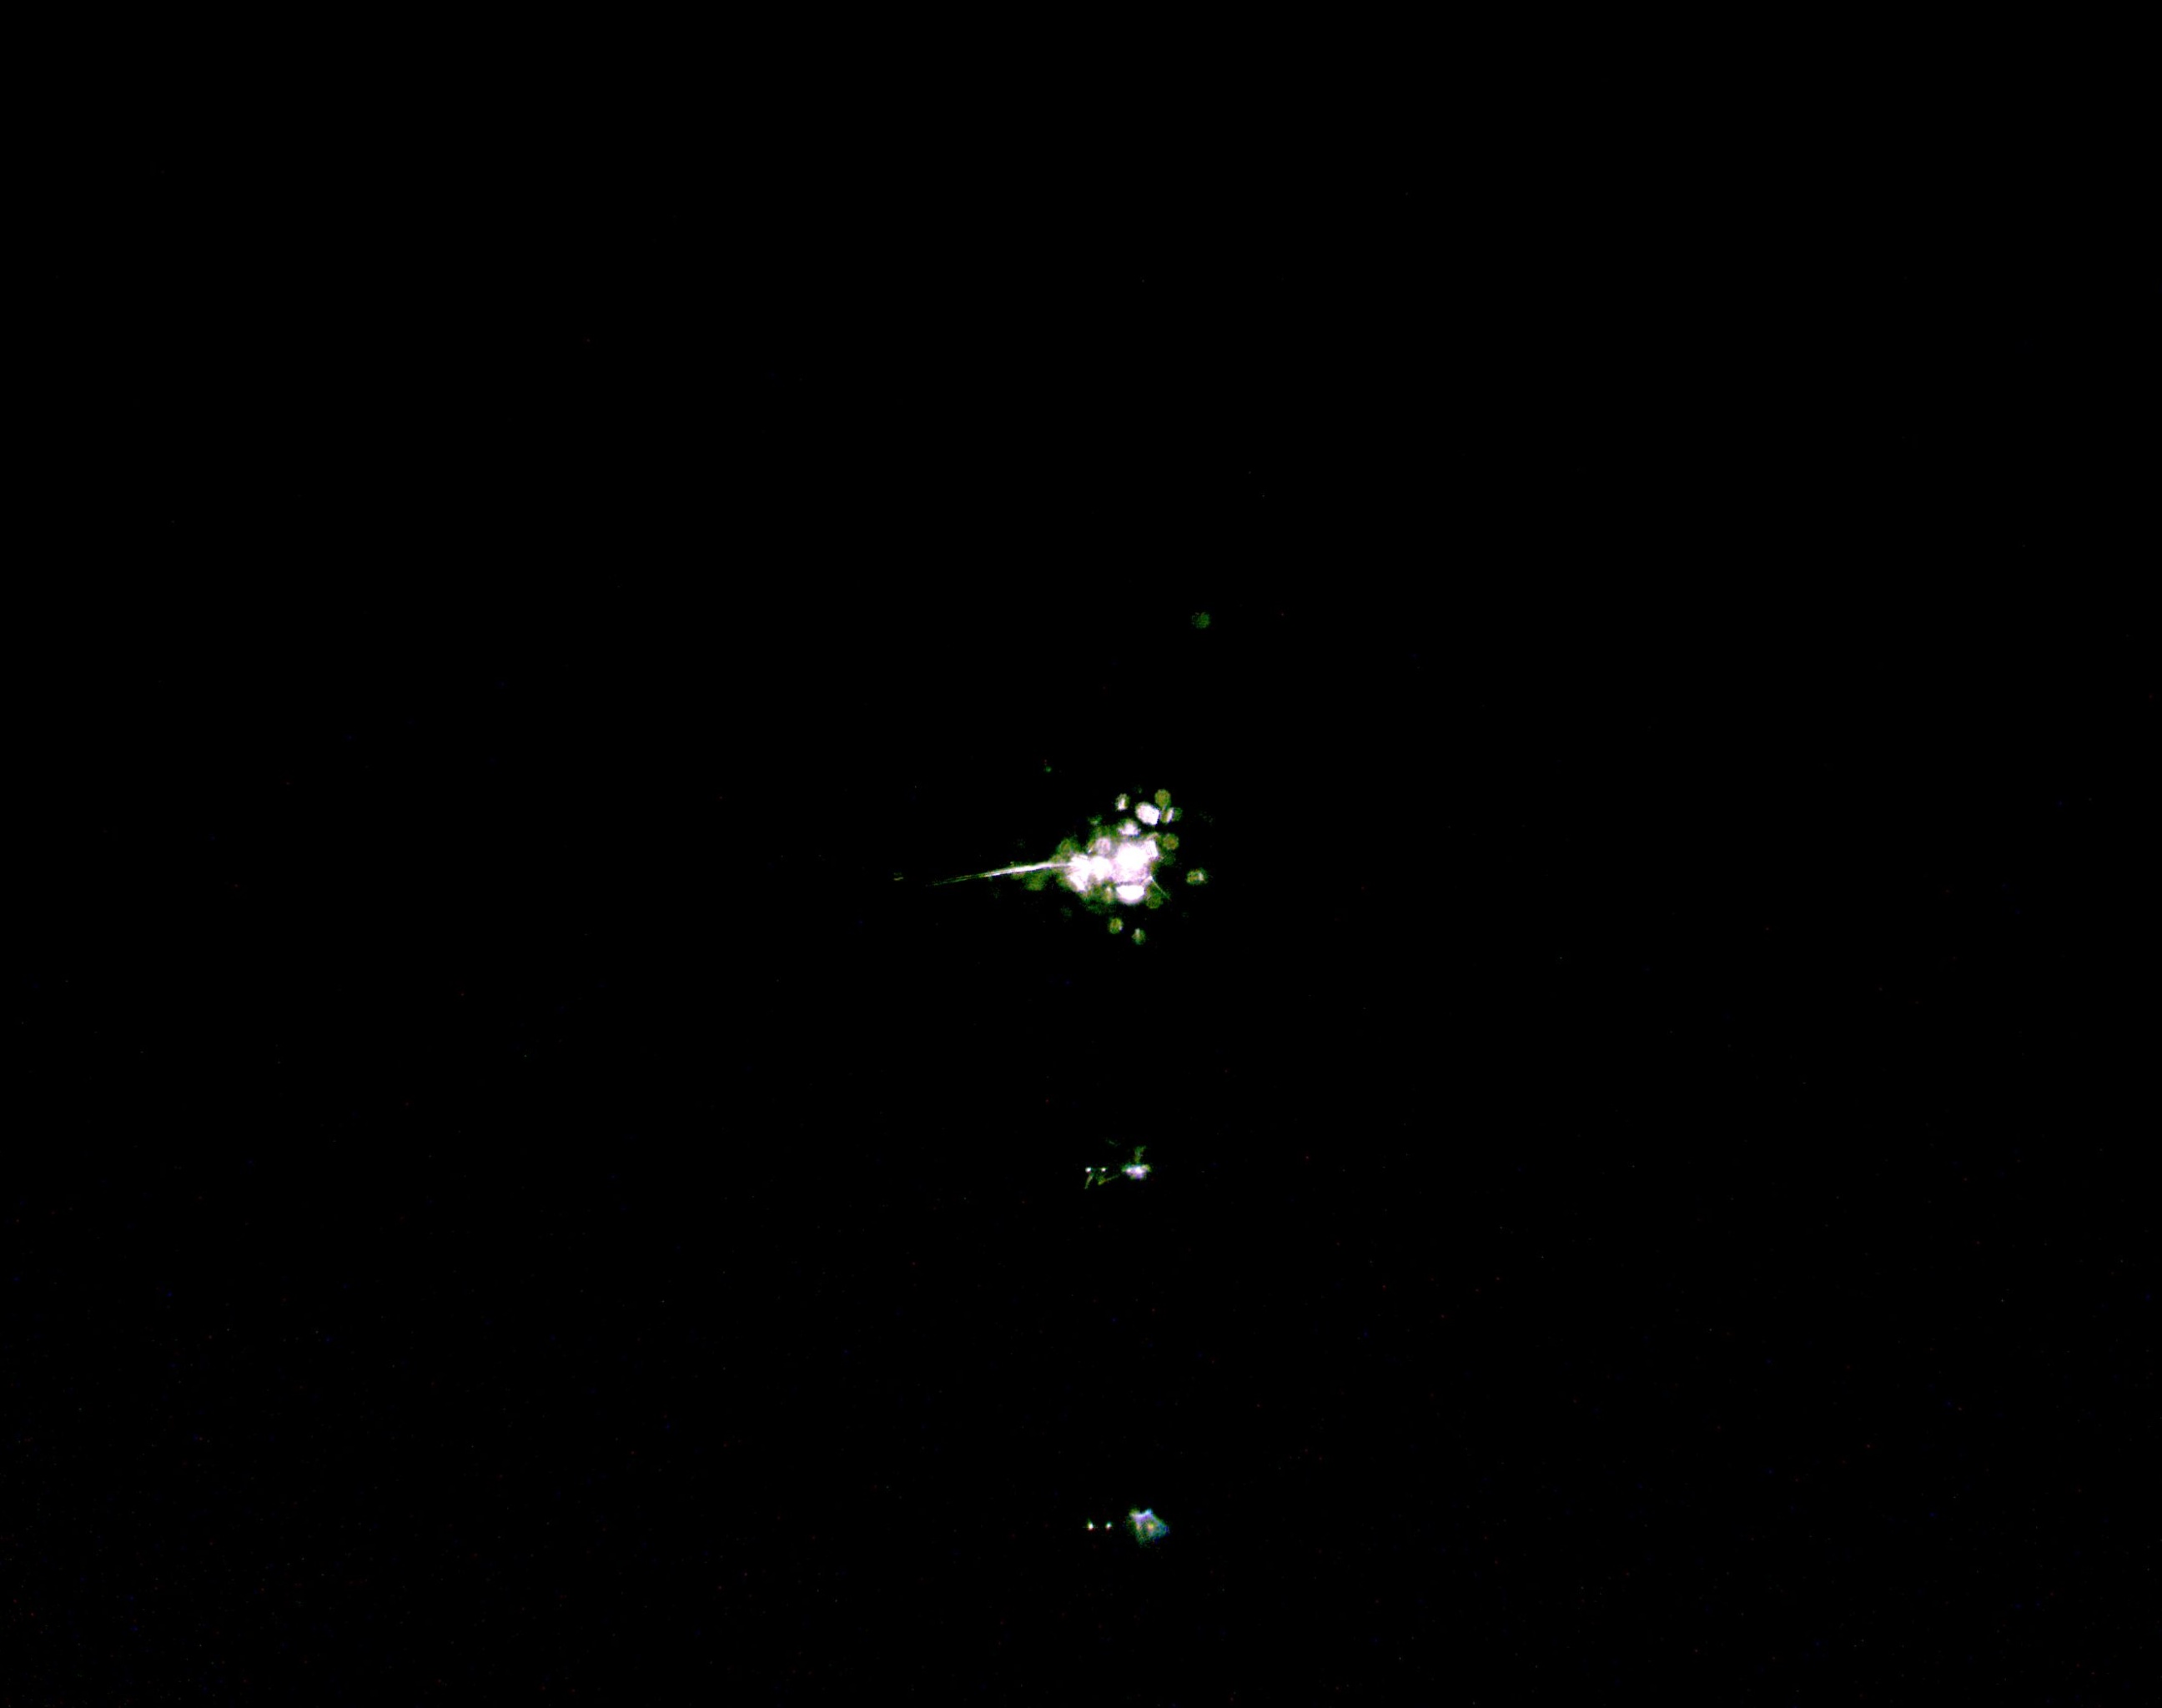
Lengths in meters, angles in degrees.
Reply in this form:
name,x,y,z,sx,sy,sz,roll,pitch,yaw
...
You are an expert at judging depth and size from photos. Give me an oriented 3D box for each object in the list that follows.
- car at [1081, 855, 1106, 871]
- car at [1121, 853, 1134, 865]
name,x,y,z,sx,sy,sz,roll,pitch,yaw
car,1.164,0.799,73.027,1.985,1.391,3.850,-1,0,4
car,7.359,0.792,128.715,1.846,1.940,4.006,-2,0,5
